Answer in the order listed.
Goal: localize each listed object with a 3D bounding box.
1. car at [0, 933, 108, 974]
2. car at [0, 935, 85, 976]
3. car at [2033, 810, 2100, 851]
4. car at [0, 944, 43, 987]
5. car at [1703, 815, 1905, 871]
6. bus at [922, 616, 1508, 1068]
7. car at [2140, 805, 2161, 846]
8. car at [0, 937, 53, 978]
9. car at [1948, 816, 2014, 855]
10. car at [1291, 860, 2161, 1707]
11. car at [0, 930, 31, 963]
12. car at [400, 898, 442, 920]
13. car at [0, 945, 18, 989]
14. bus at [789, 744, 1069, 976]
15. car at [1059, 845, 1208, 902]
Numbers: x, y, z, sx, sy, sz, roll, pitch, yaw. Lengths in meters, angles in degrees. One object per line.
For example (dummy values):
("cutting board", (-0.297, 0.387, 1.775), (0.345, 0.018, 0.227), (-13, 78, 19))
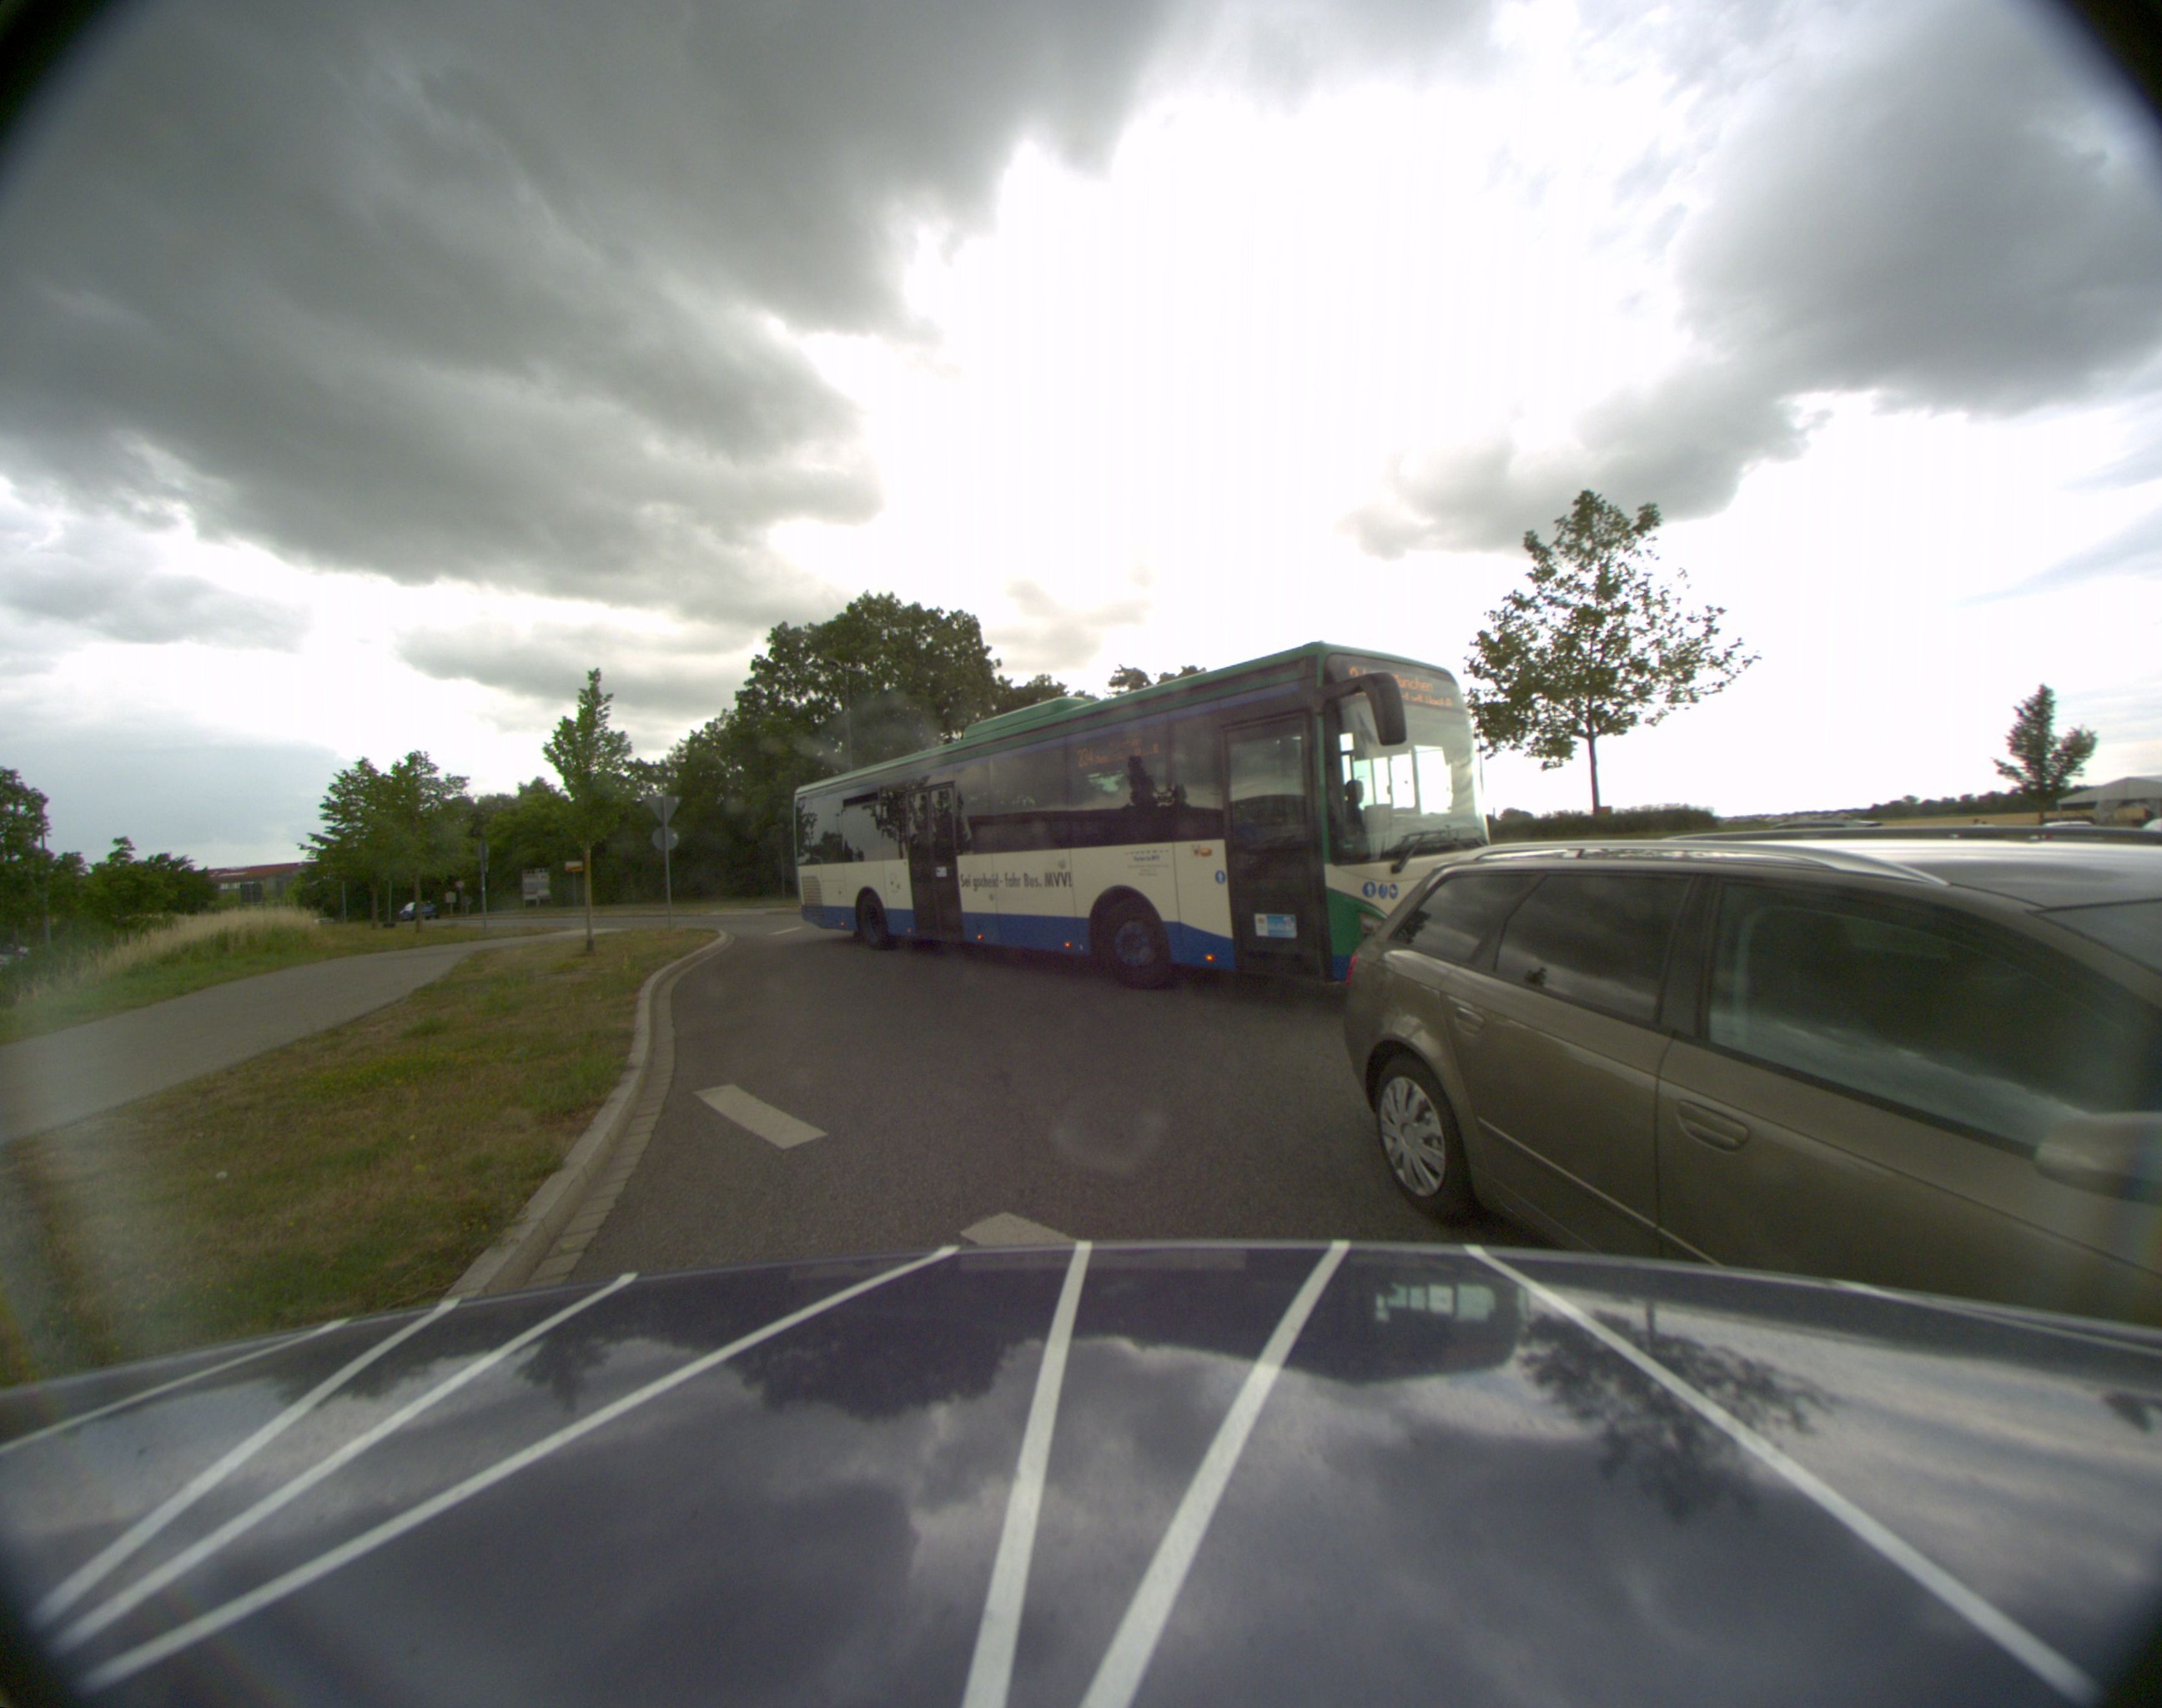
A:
("car", (-49.375, 4.735, 35.897), (3.896, 1.455, 1.693), (-3, 0, -42))
("car", (-46.716, 4.517, 32.989), (3.896, 1.455, 1.693), (-3, 0, -42))
("car", (45.170, -1.093, 34.800), (4.006, 1.544, 1.712), (-5, 0, -36))
("car", (-41.874, 4.312, 28.040), (3.896, 1.455, 1.693), (-3, 0, -42))
("car", (23.481, -0.298, 24.907), (1.716, 1.616, 4.442), (-3, 0, -25))
("bus", (0.894, -0.095, 8.773), (2.530, 3.239, 6.531), (-3, 1, -39))
("car", (47.262, -1.308, 32.784), (4.006, 1.544, 1.712), (-5, 0, -36))
("car", (-44.295, 4.266, 30.118), (3.896, 1.455, 1.693), (-3, 0, -42))
("car", (43.423, -0.913, 36.637), (4.006, 1.544, 1.712), (-5, 0, -36))
("car", (2.250, 0.797, 1.681), (1.783, 1.456, 4.538), (-3, 0, -7))
("car", (-53.267, 4.570, 35.978), (1.879, 1.435, 4.007), (-3, 0, 34))
("car", (-53.120, 4.442, 61.107), (4.072, 1.422, 1.766), (-6, 0, 39))
("car", (-39.733, 4.090, 25.789), (3.896, 1.455, 1.693), (-3, 0, -42))
("bus", (-2.943, 0.064, 13.524), (2.530, 3.239, 5.446), (-3, 2, -39))
("car", (1.730, 0.617, 25.234), (4.462, 1.558, 1.970), (-3, 0, -18))
